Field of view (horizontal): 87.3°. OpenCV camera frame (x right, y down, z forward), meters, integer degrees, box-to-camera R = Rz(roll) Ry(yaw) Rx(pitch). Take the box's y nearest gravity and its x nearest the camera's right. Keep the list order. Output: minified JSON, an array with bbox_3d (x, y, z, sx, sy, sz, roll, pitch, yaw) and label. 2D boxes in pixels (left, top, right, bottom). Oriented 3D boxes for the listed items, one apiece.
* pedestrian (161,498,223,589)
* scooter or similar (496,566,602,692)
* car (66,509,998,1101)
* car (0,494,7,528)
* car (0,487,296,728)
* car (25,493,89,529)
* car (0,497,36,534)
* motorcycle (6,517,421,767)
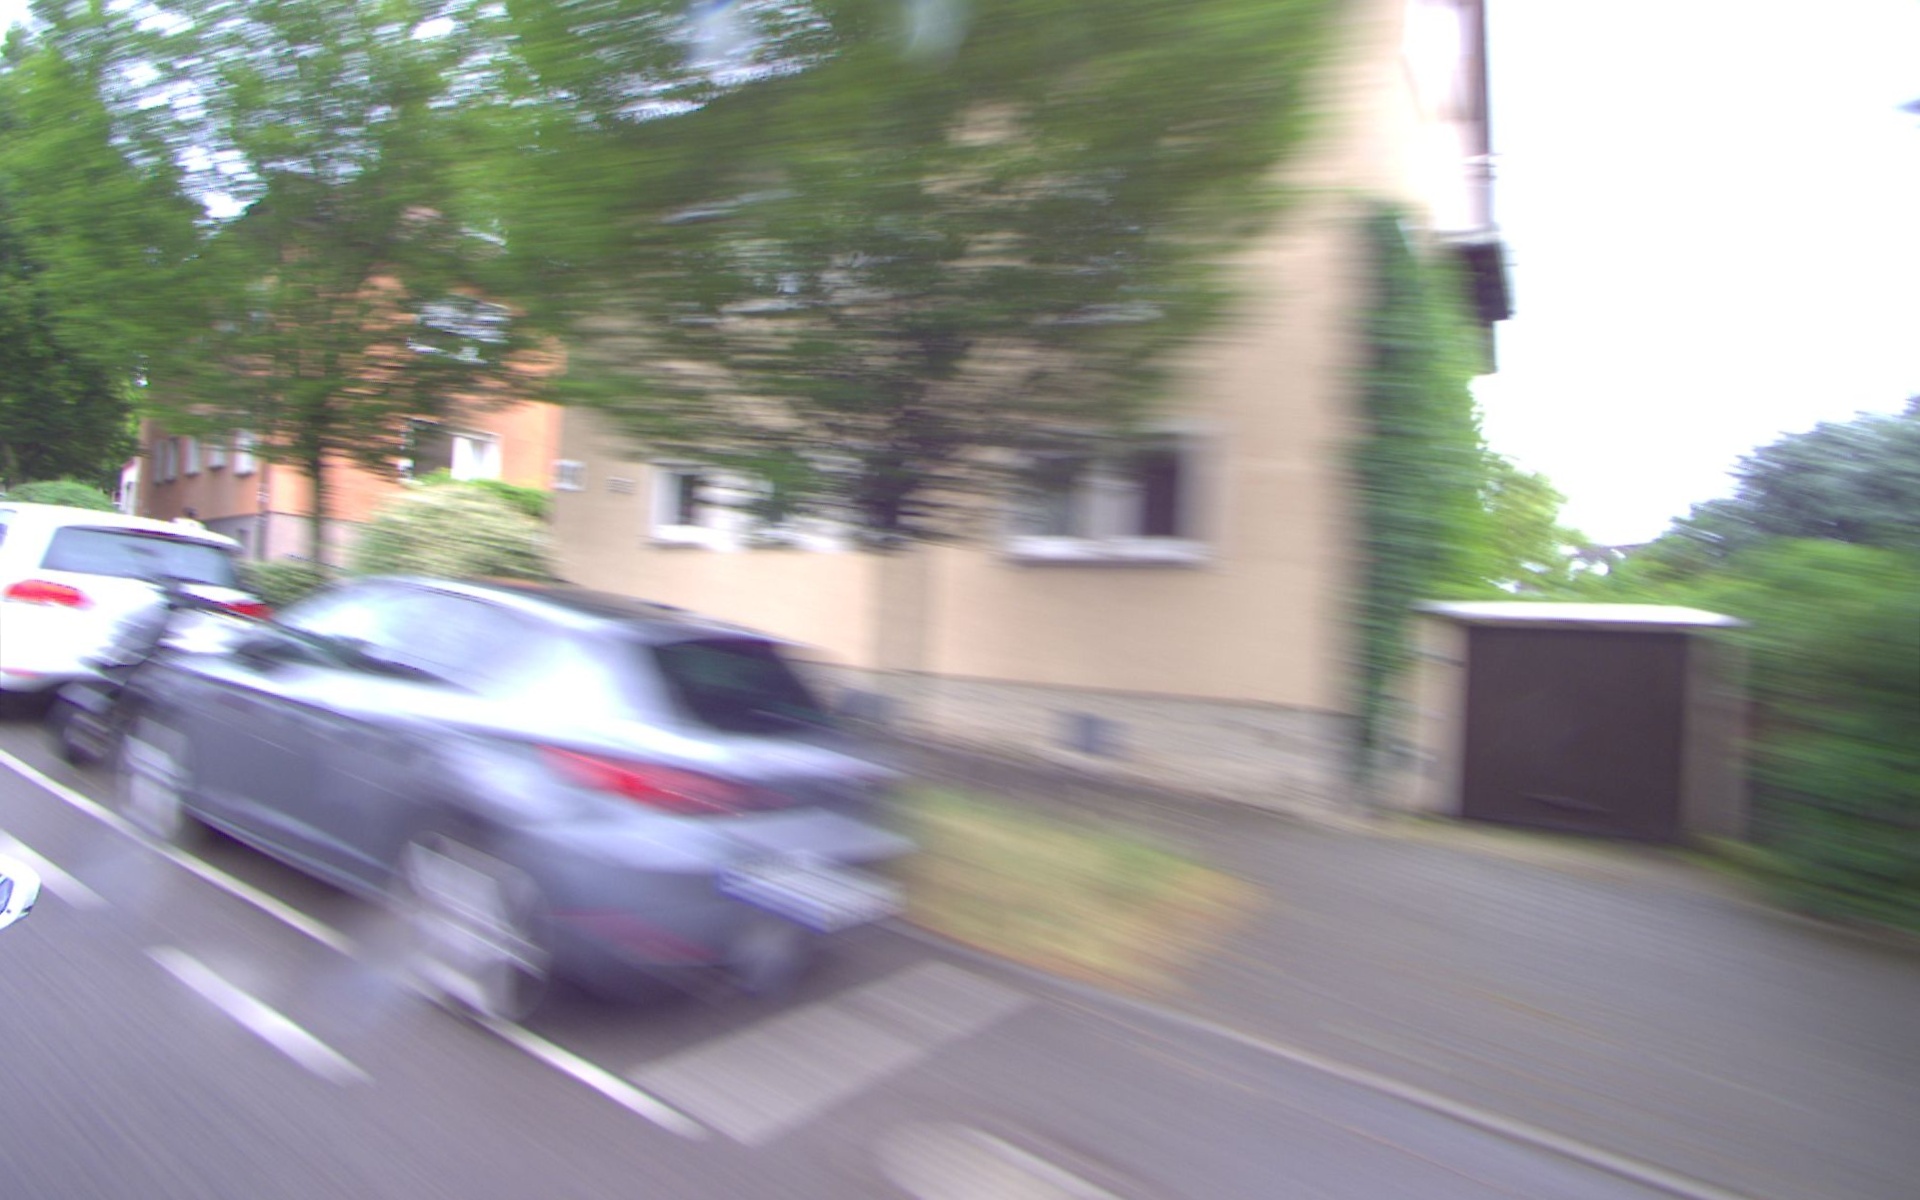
[{"bbox_3d":[-15.533,-1.139,20.339,0.889,1.743,0.758,7,3,39],"label":"pedestrian"},{"bbox_3d":[-4.545,0.309,11.113,1.156,1.260,0.413,7,1,35],"label":"scooter or similar"},{"bbox_3d":[-2.239,0.536,4.784,4.396,1.433,1.880,7,-1,34],"label":"car"},{"bbox_3d":[-41.236,-3.860,41.836,1.659,1.488,3.675,9,-2,-35],"label":"car"},{"bbox_3d":[-7.174,-0.052,8.050,3.937,1.506,1.658,7,-2,35],"label":"car"},{"bbox_3d":[-46.059,-4.512,51.411,1.643,1.537,3.966,8,-1,-32],"label":"car"},{"bbox_3d":[-45.080,-4.026,47.444,1.616,1.581,2.995,7,-1,-33],"label":"car"},{"bbox_3d":[-4.767,0.311,6.605,0.774,1.345,1.918,7,-2,29],"label":"motorcycle"}]
